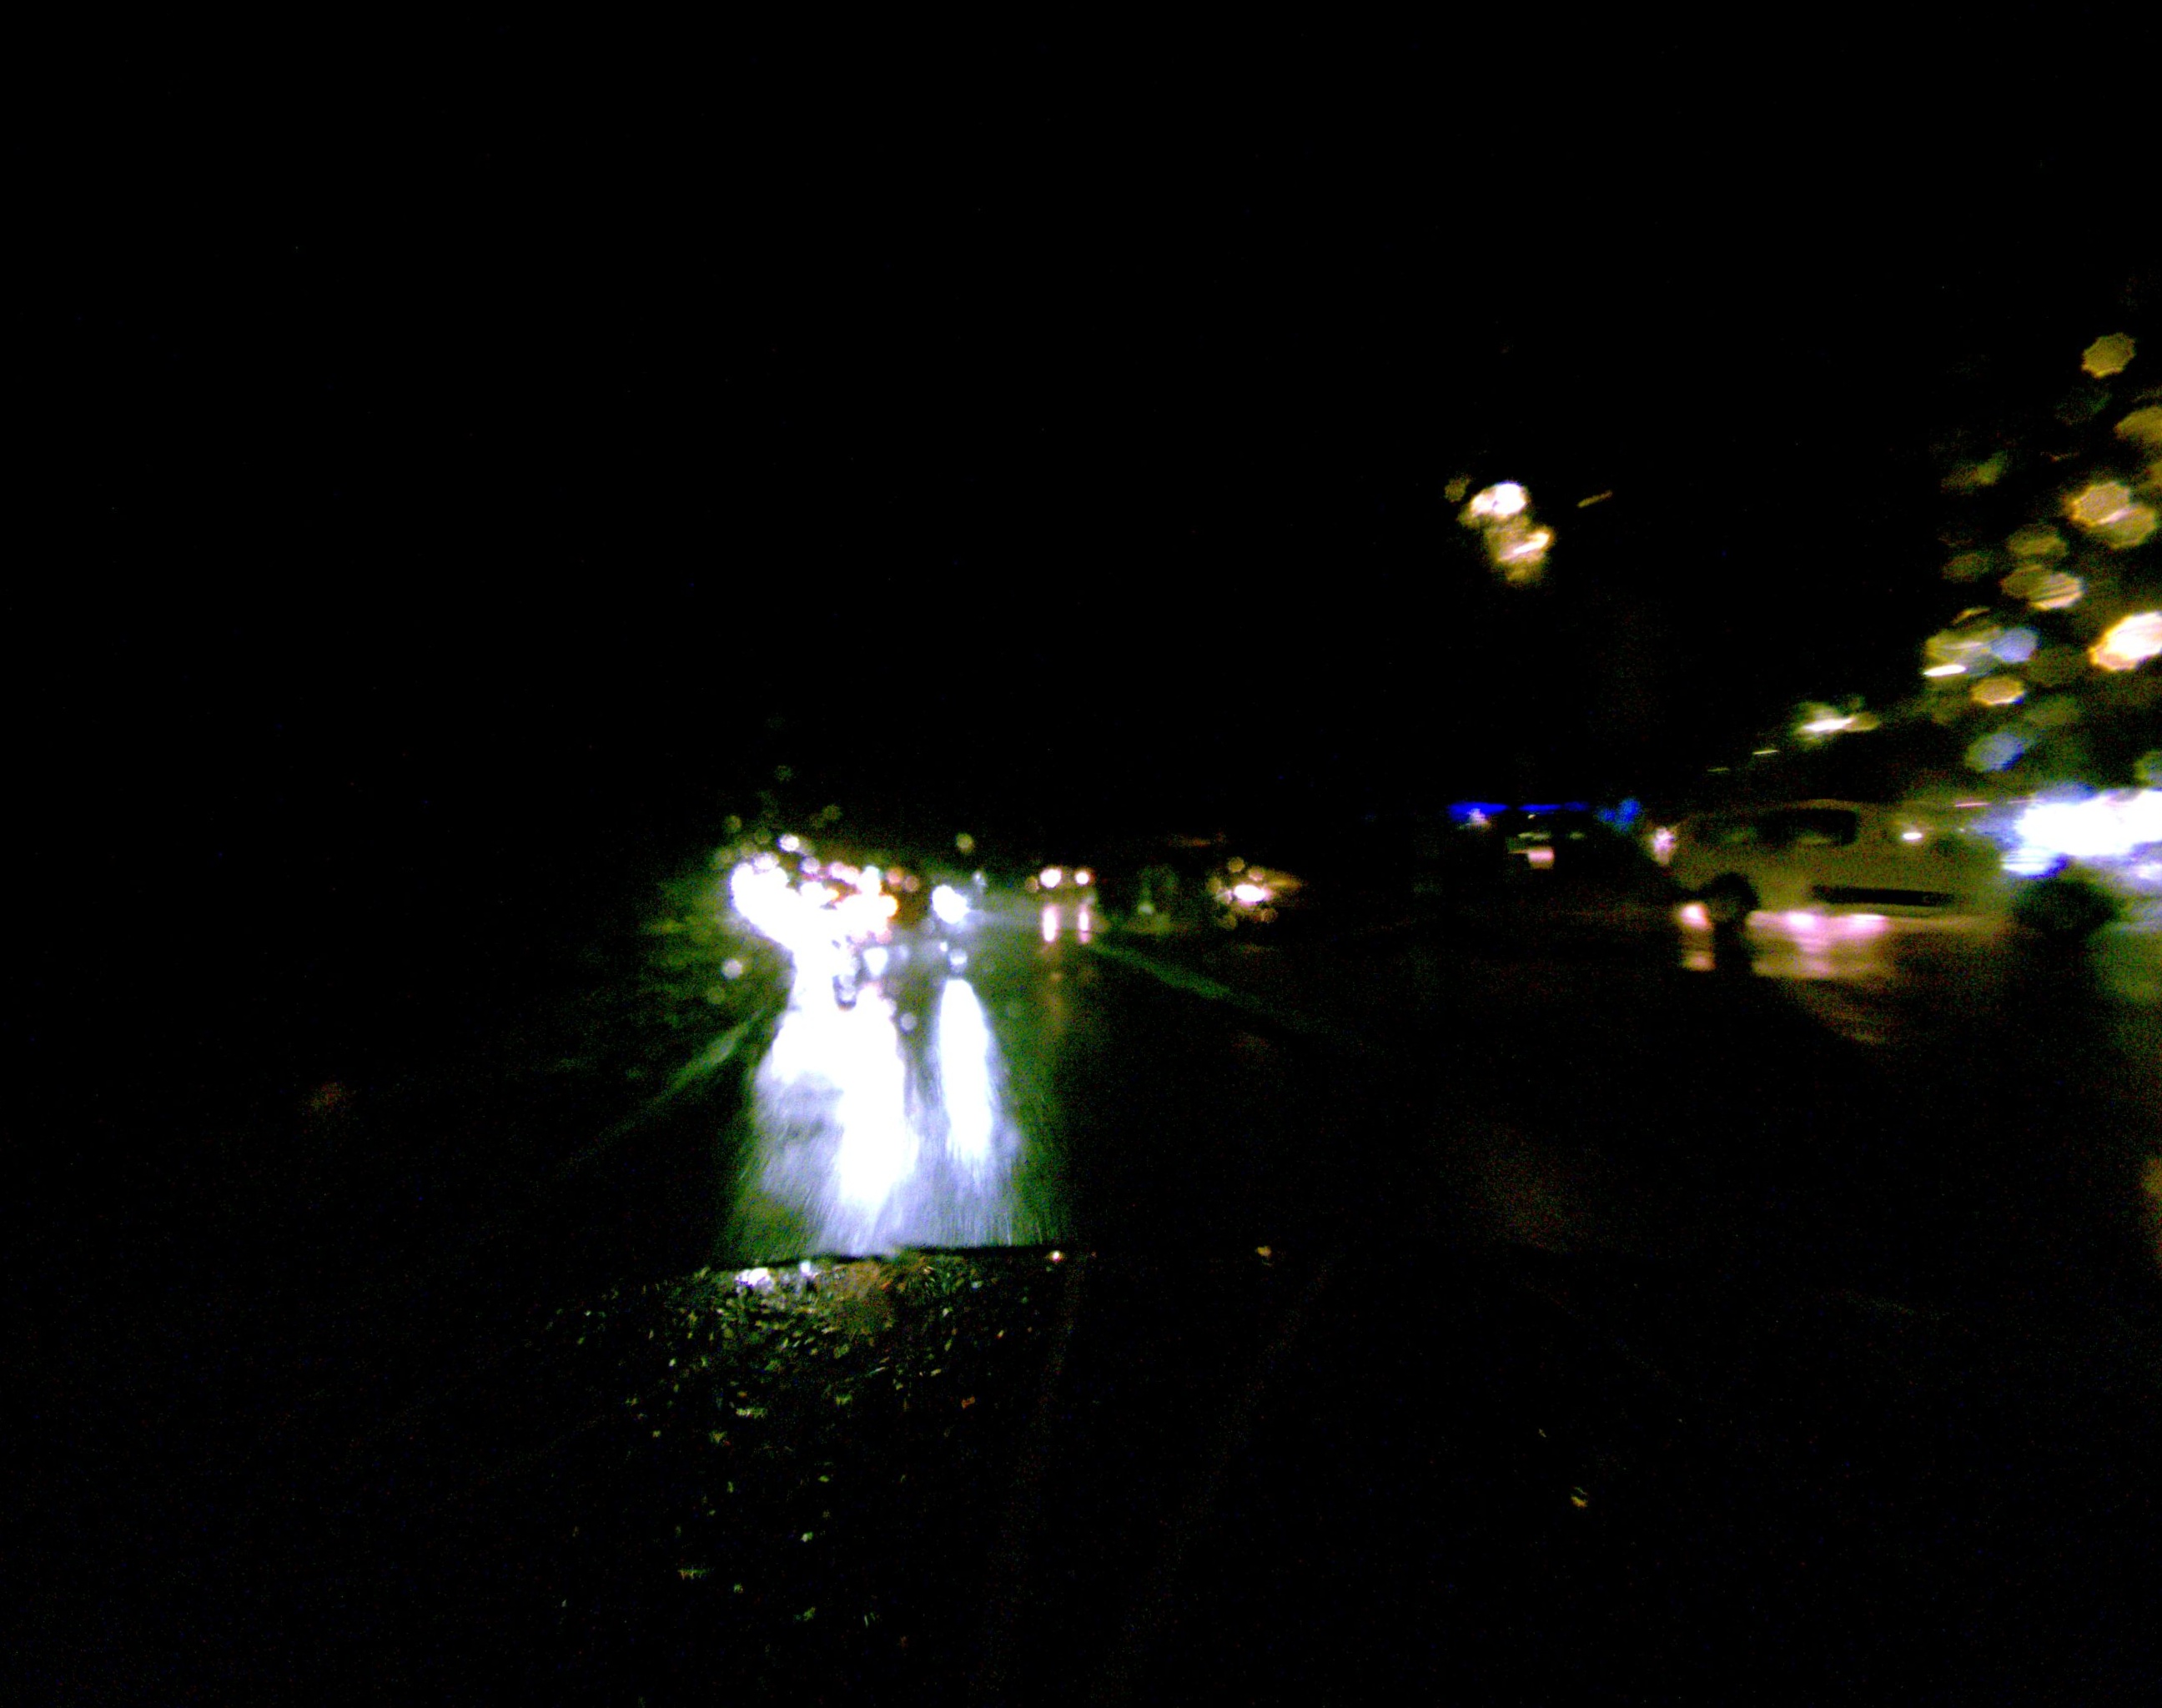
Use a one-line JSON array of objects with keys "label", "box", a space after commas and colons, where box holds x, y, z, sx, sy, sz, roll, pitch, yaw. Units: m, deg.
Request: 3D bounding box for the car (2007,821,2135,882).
[{"label": "car", "box": [34.467, -0.136, 26.596, 1.663, 1.843, 4.153, -2, 2, 37]}]

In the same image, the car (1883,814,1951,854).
[{"label": "car", "box": [44.556, -1.088, 40.571, 1.708, 1.927, 3.616, -2, 3, 36]}]

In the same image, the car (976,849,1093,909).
[{"label": "car", "box": [-1.623, 0.741, 25.046, 1.792, 1.586, 4.224, 1, 3, -36]}]

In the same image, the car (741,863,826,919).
[{"label": "car", "box": [-9.869, 1.200, 25.036, 1.690, 1.523, 3.979, -6, 1, -33]}]

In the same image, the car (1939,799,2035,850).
[{"label": "car", "box": [39.532, -1.309, 33.251, 1.789, 2.013, 4.153, -2, 2, 37]}]

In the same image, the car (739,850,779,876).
[{"label": "car", "box": [-19.892, 0.517, 46.795, 1.683, 1.437, 4.165, -4, 2, -30]}]

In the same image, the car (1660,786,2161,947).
[{"label": "car", "box": [11.171, 0.178, 10.547, 4.709, 1.782, 2.004, -3, 0, 45]}]

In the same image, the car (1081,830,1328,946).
[{"label": "car", "box": [2.197, 0.558, 14.626, 1.786, 1.820, 4.545, -5, 3, -40]}]

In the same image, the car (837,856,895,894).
[{"label": "car", "box": [-10.920, 1.038, 38.386, 1.851, 1.696, 4.120, -3, 0, -29]}]

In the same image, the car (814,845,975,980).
[{"label": "car", "box": [-3.551, 0.870, 13.811, 2.006, 1.914, 4.360, -4, 2, -24]}]
